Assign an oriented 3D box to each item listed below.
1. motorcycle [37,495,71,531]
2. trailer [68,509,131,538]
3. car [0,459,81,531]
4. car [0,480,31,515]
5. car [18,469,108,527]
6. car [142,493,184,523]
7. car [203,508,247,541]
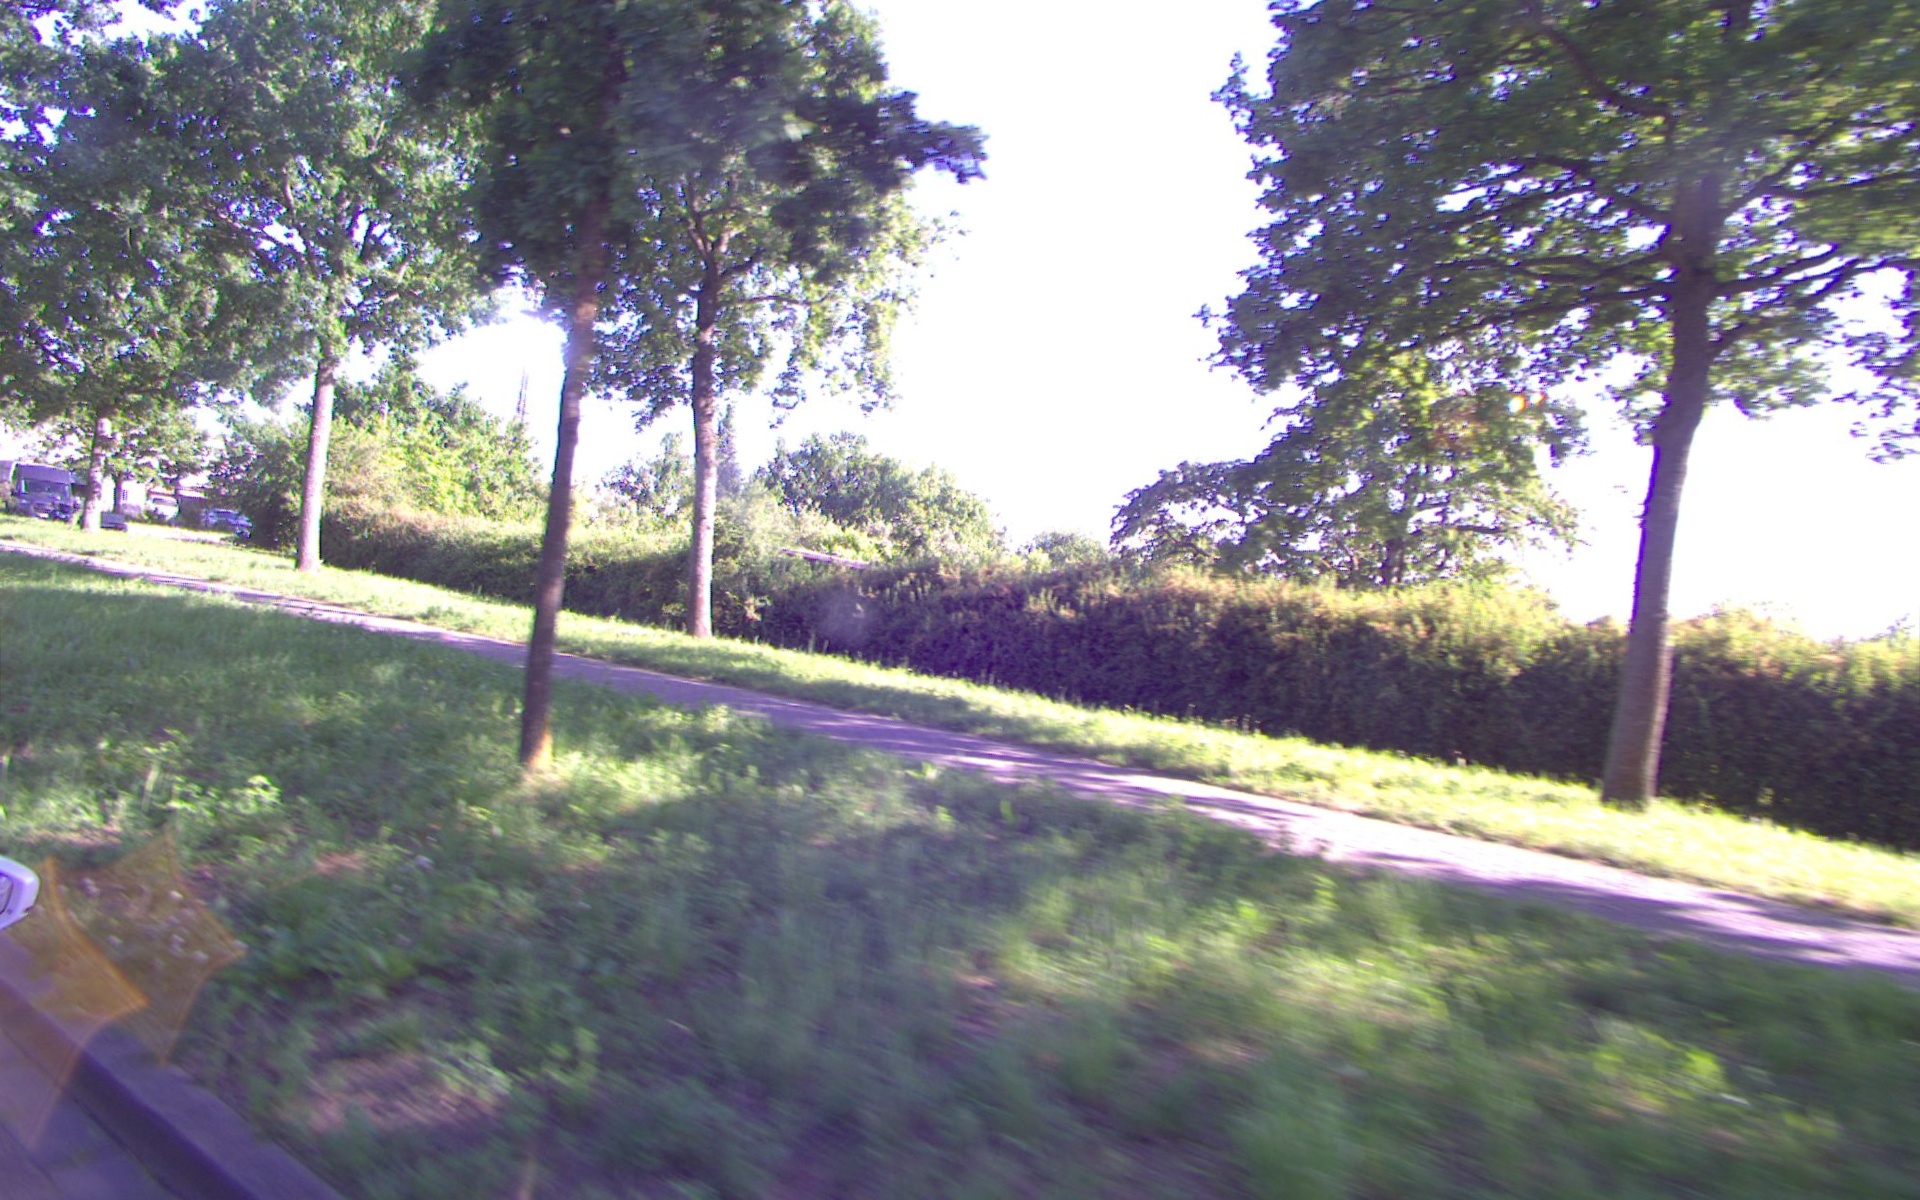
[{"bbox_3d":[-36.361,-3.471,40.358,2.374,1.245,0.662,2,-3,41],"label":"motorcycle"},{"bbox_3d":[-34.340,-3.020,40.134,2.027,0.878,1.576,2,-3,41],"label":"trailer"},{"bbox_3d":[-43.711,-5.011,47.698,5.885,2.597,2.083,11,1,41],"label":"car"},{"bbox_3d":[-52.494,-5.700,54.546,3.535,1.685,2.009,7,1,29],"label":"car"},{"bbox_3d":[-50.142,-5.712,56.216,4.767,2.676,2.164,7,1,29],"label":"car"},{"bbox_3d":[-53.663,-6.215,67.714,1.829,1.660,3.950,6,1,-43],"label":"car"},{"bbox_3d":[-45.225,-4.669,61.890,1.827,1.660,3.955,7,0,-40],"label":"car"}]
